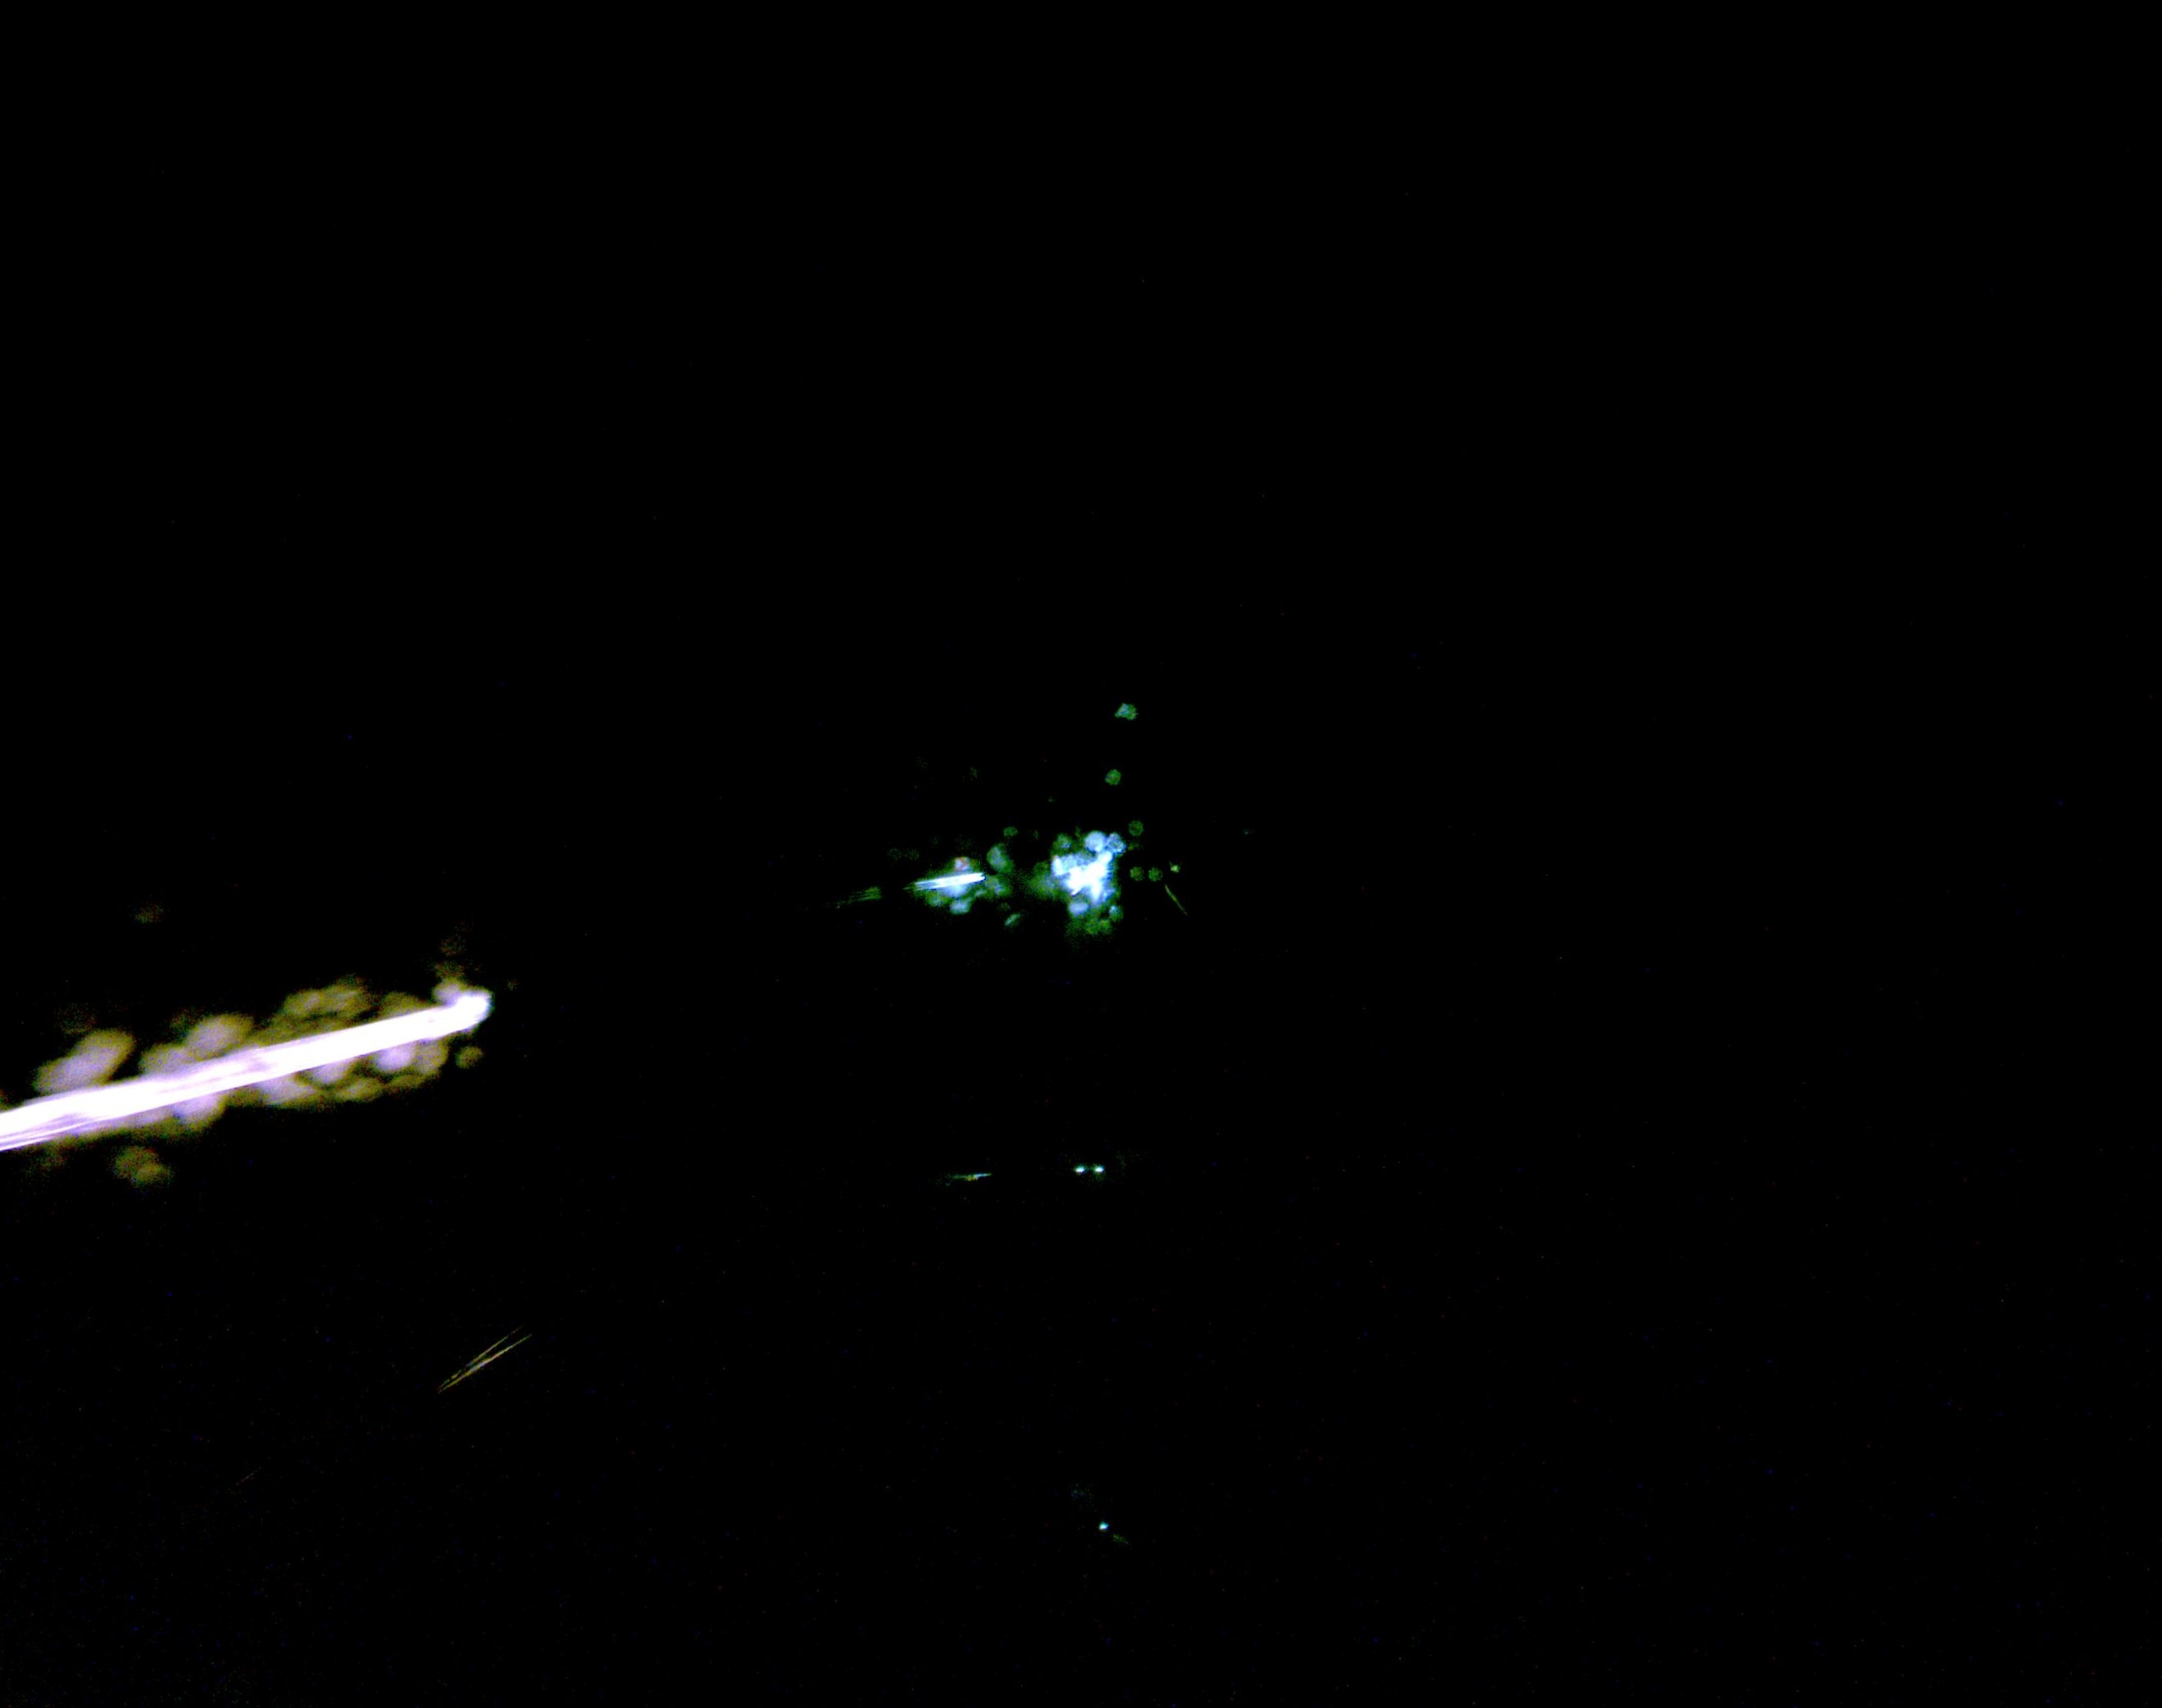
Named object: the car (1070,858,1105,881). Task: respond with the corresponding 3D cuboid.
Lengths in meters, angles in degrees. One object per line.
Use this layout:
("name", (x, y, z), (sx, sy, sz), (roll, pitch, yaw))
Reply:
("car", (0.427, 0.948, 51.618), (1.985, 1.411, 4.003), (0, -1, 3))

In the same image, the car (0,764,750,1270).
("car", (-3.823, 0.615, 5.066), (1.773, 1.843, 4.161), (0, -1, 1))
